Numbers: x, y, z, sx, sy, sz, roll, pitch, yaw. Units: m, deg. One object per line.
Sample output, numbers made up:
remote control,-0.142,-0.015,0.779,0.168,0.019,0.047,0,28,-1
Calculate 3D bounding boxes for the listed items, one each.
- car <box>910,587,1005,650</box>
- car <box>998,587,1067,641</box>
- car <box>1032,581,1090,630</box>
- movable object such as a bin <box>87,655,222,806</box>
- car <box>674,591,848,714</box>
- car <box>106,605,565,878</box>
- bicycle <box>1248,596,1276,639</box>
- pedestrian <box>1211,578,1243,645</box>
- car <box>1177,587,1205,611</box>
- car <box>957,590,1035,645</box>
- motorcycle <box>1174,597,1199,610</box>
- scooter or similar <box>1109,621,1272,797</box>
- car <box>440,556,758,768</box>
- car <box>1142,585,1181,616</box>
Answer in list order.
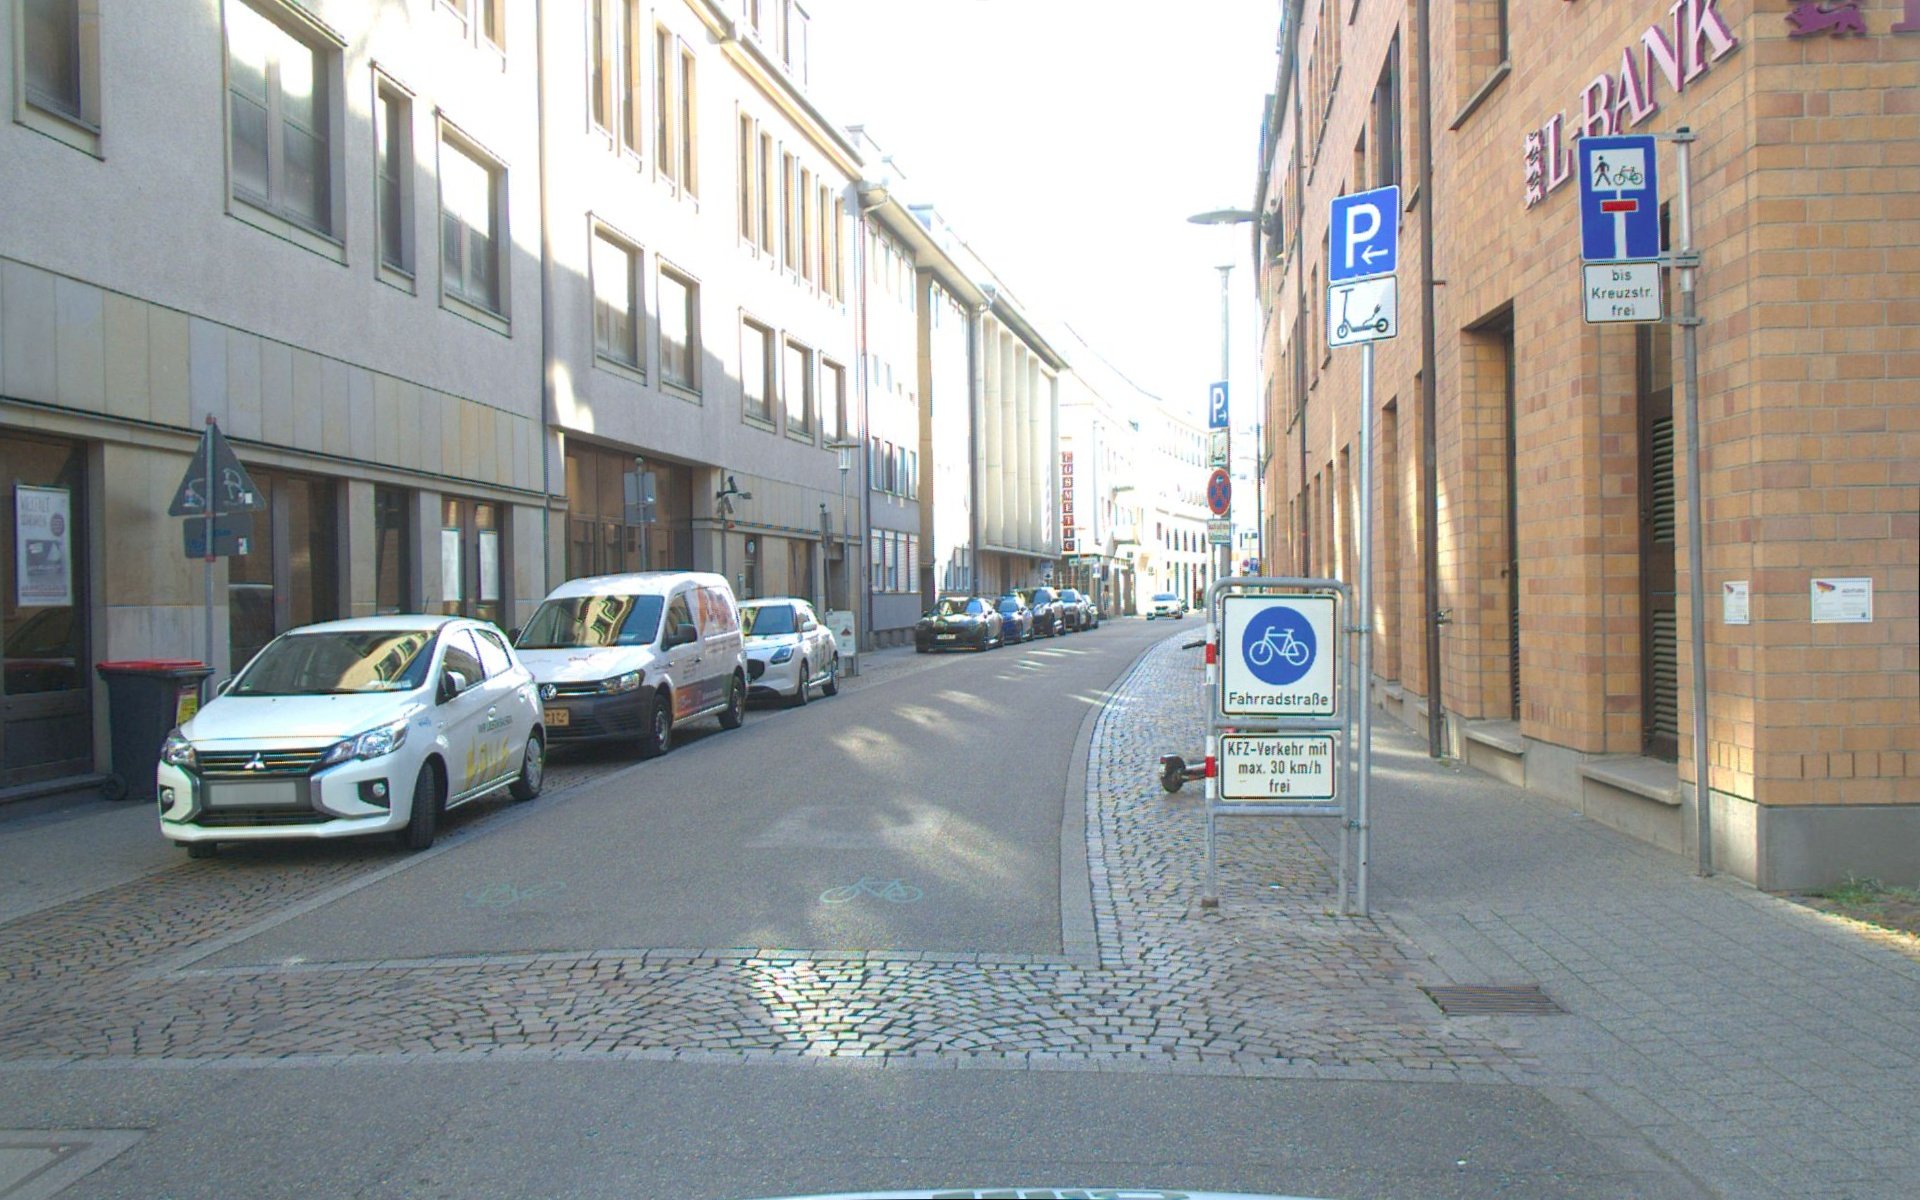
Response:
car,-0.001,0.466,44.578,1.849,1.556,4.733,-2,0,8
car,2.521,0.446,56.523,1.849,1.705,4.557,-2,0,8
car,3.949,0.177,63.919,1.849,1.772,4.394,-2,0,8
movable object such as a bin,-6.256,1.000,12.868,0.721,1.120,0.591,1,-1,2
car,-2.799,0.698,24.068,1.634,1.548,3.778,-3,0,6
car,-4.191,0.855,11.799,1.701,1.518,3.800,-3,0,1
bicycle,8.288,0.467,45.431,0.538,1.122,1.983,-4,0,6
pedestrian,7.193,0.311,44.543,0.744,1.746,0.822,-3,0,8
car,15.489,-0.091,110.853,1.604,1.544,4.164,-2,0,11
car,1.141,0.511,50.801,1.849,1.556,4.343,-2,0,8
motorcycle,15.922,0.271,116.040,1.655,0.874,0.595,1,0,17
scooter or similar,1.812,0.811,12.896,1.408,1.257,0.529,-1,1,-45
car,-3.654,0.563,17.744,1.859,1.890,4.737,-3,0,6
car,10.636,0.023,87.215,1.678,1.544,4.164,-2,0,12
